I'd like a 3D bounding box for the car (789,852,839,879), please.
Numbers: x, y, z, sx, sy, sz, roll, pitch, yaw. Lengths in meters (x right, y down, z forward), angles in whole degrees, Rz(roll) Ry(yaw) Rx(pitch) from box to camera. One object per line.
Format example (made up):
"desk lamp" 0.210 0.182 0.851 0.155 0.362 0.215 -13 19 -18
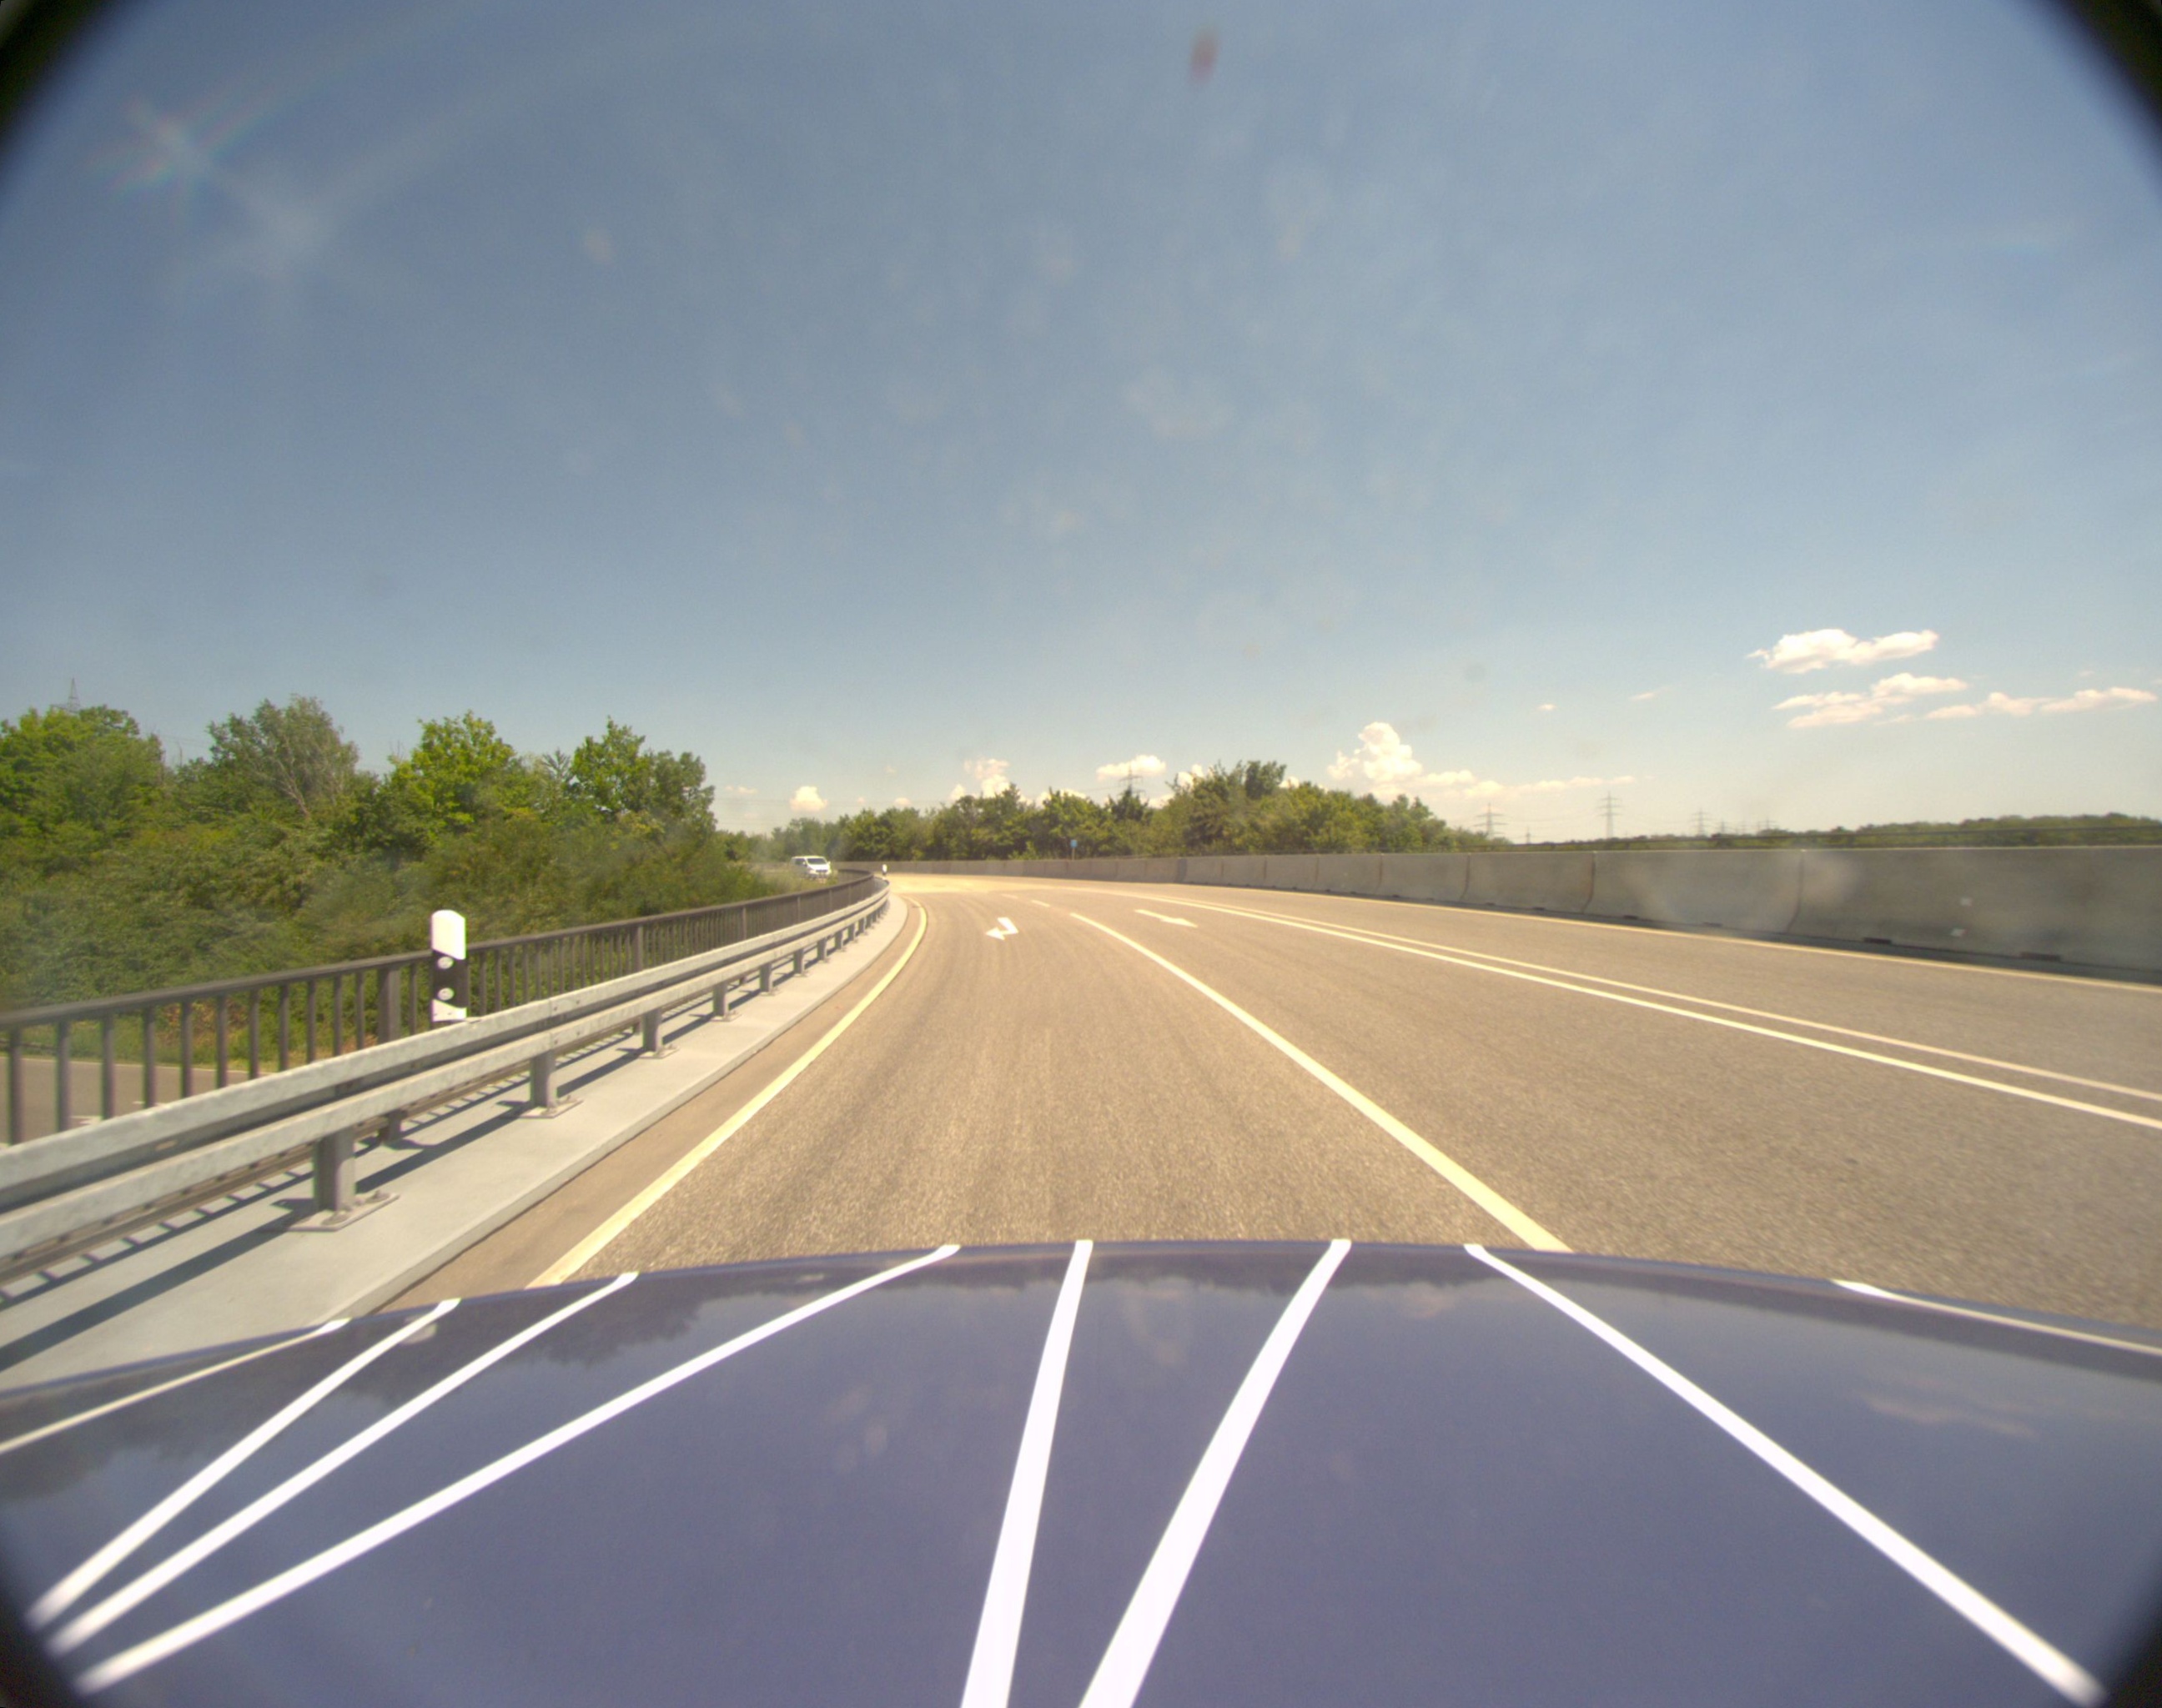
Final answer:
"car" -22.444 0.922 63.677 2.036 2.073 5.855 -2 2 -39
